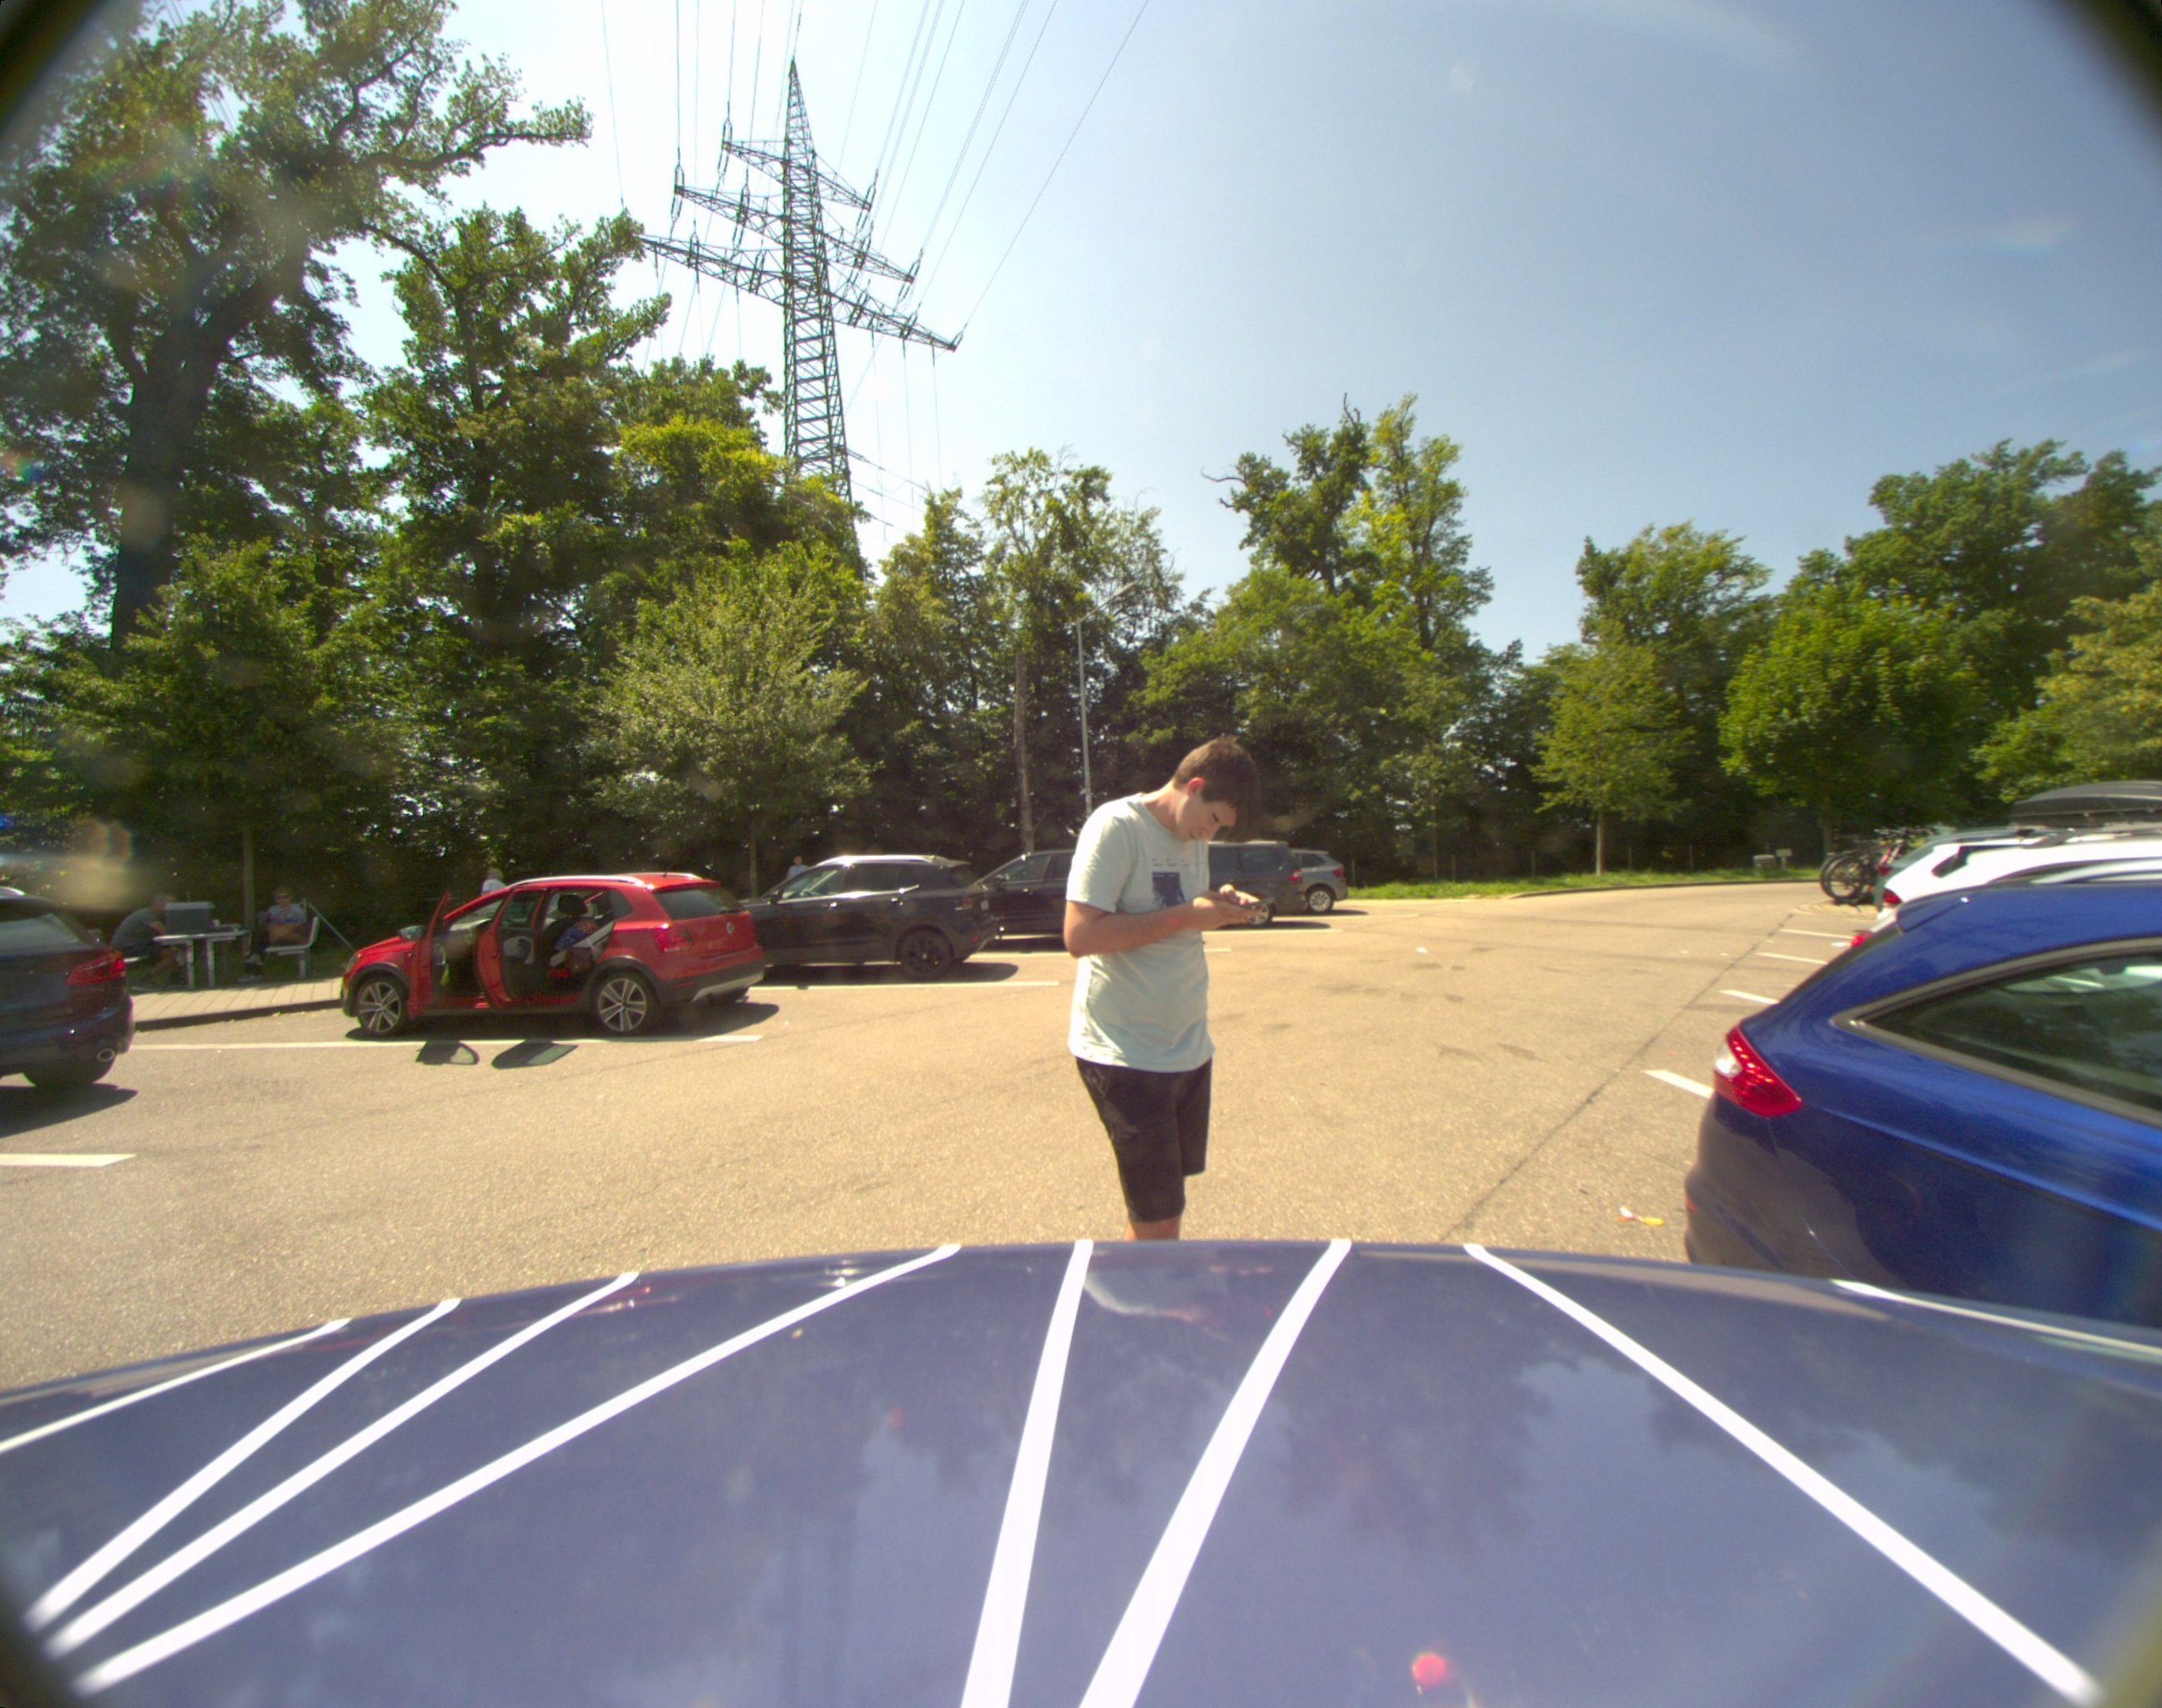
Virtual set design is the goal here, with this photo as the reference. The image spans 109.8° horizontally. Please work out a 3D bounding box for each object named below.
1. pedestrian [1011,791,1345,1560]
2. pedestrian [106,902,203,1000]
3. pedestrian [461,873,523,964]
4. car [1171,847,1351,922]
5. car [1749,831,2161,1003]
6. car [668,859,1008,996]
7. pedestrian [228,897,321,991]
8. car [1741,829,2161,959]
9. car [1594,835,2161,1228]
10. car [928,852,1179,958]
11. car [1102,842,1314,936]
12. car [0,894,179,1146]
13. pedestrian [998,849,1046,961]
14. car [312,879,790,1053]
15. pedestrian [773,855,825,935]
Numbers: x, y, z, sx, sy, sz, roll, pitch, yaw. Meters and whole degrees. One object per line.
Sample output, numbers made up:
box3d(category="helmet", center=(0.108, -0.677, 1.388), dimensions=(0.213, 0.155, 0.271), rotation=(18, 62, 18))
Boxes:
box3d(category="pedestrian", center=(0.220, 0.724, 1.989), dimensions=(0.687, 1.699, 0.578), rotation=(-2, 0, 1))
box3d(category="pedestrian", center=(-12.829, 1.325, 10.529), dimensions=(0.652, 1.262, 0.672), rotation=(-2, 0, 24))
box3d(category="pedestrian", center=(-10.832, 1.153, 13.995), dimensions=(0.811, 1.584, 0.774), rotation=(-2, 0, -34))
box3d(category="car", center=(4.185, 0.707, 18.211), dimensions=(3.964, 1.577, 1.781), rotation=(-2, 0, 7))
box3d(category="car", center=(10.070, 0.529, 8.166), dimensions=(1.779, 1.456, 4.470), rotation=(-2, -1, 0))
box3d(category="car", center=(-3.140, 0.934, 10.389), dimensions=(3.966, 1.582, 1.841), rotation=(-2, 0, 3))
box3d(category="pedestrian", center=(-11.838, 1.297, 11.158), dimensions=(0.828, 1.287, 0.672), rotation=(-2, 0, 24))
box3d(category="car", center=(12.371, 0.472, 10.950), dimensions=(1.779, 1.456, 4.470), rotation=(-2, -1, 0))
box3d(category="car", center=(4.912, 0.654, 3.675), dimensions=(1.779, 1.456, 4.470), rotation=(-2, -1, 0))
box3d(category="car", center=(-0.370, 0.837, 12.974), dimensions=(3.964, 1.582, 1.781), rotation=(-2, 0, 8))
box3d(category="car", center=(2.516, 0.691, 15.459), dimensions=(3.964, 1.678, 1.781), rotation=(-2, 0, 7))
box3d(category="car", center=(-8.912, 1.153, 5.011), dimensions=(4.011, 1.558, 1.846), rotation=(-2, 0, 6))
box3d(category="pedestrian", center=(-0.948, 0.806, 12.316), dimensions=(0.660, 1.745, 0.636), rotation=(-2, 0, 1))
box3d(category="car", center=(-5.187, 1.068, 7.729), dimensions=(3.704, 1.448, 1.781), rotation=(-2, 0, 7))
box3d(category="pedestrian", center=(-5.788, 0.822, 15.618), dimensions=(0.715, 1.584, 0.809), rotation=(-2, 0, 0))
